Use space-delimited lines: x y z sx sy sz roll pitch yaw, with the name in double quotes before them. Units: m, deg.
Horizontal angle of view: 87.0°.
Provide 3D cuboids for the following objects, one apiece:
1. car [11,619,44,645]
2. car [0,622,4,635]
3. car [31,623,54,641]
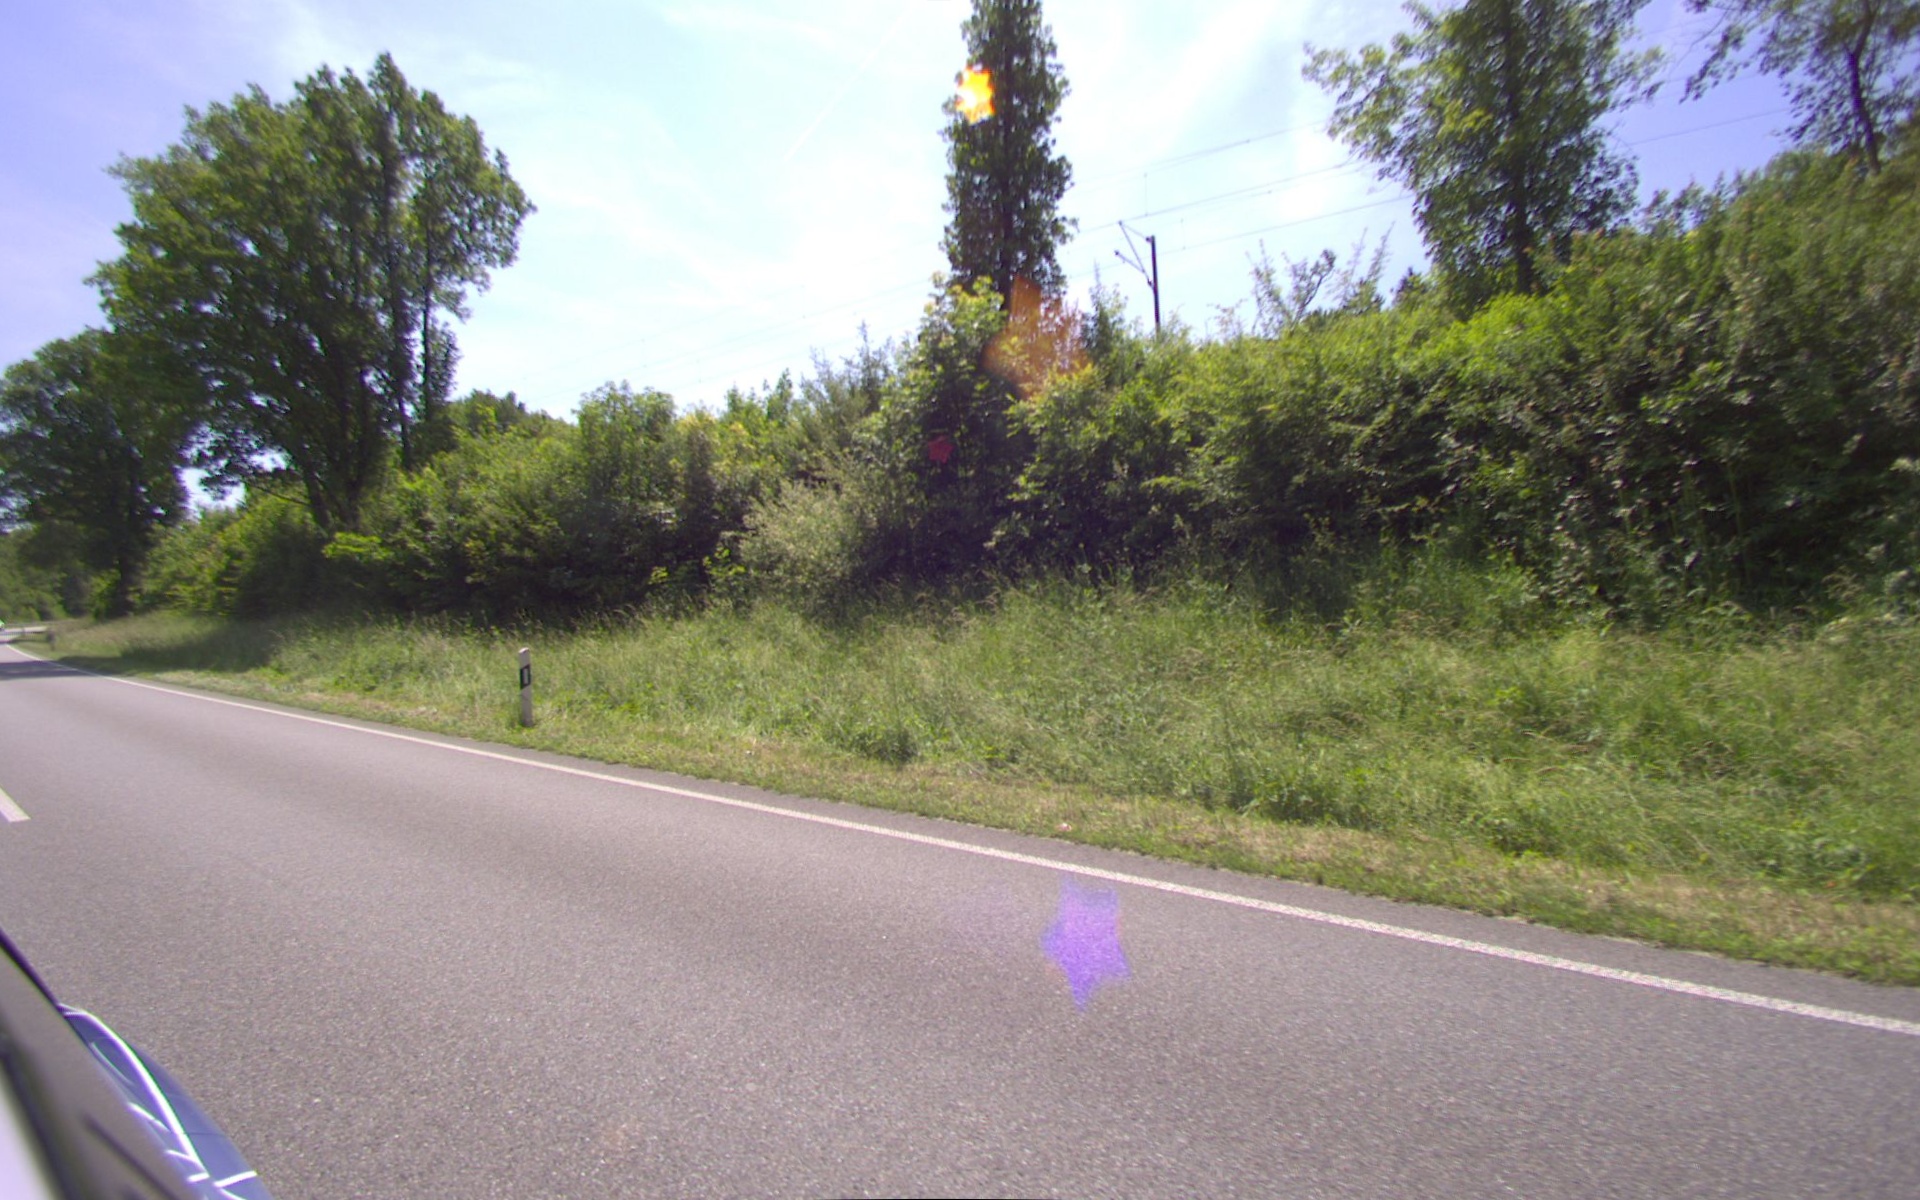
"car" -76.890 2.601 83.430 1.970 2.029 4.004 -1 -1 -43
"car" -123.794 3.686 129.406 1.784 1.601 4.009 -1 -1 -37
"car" -109.598 3.847 120.907 1.969 2.029 4.006 -1 -1 -41
